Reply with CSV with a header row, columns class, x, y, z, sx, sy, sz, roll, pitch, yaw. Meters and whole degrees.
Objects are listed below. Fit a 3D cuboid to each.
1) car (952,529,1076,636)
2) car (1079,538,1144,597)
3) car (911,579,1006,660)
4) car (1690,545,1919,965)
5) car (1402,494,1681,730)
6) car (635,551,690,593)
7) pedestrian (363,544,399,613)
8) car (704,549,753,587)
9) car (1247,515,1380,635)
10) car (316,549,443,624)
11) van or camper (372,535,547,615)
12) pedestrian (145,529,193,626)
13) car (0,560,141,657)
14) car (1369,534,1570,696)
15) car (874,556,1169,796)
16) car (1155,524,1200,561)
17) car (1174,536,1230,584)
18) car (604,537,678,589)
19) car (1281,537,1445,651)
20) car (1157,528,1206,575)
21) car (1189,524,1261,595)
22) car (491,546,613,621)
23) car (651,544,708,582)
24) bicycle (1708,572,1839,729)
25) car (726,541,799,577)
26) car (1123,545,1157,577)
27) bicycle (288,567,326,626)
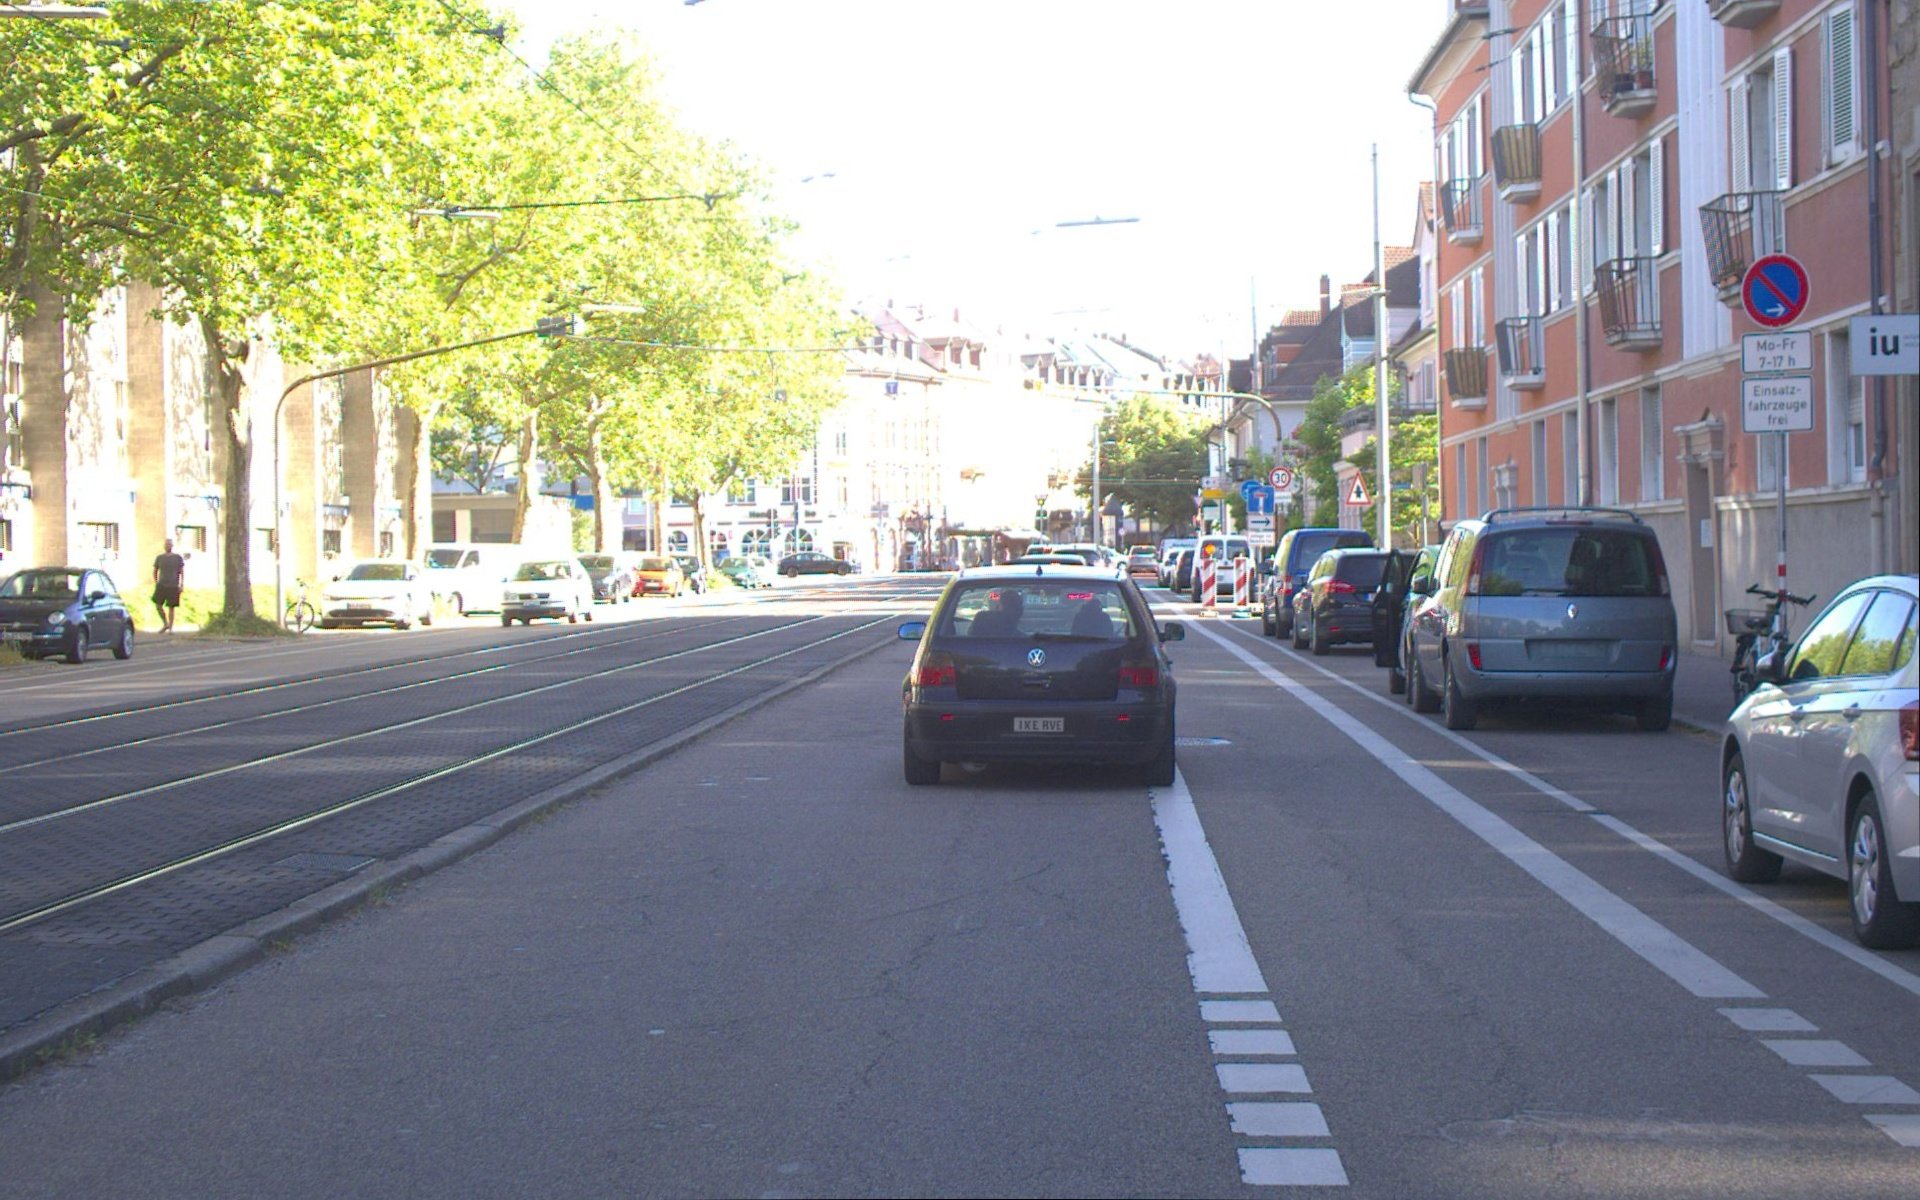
class,x,y,z,sx,sy,sz,roll,pitch,yaw
car,0.855,-0.293,52.491,1.749,1.532,3.891,-1,1,3
car,3.926,-0.866,89.477,1.636,1.467,3.729,-1,1,2
car,-0.004,0.383,71.381,1.749,1.532,3.891,-1,1,3
car,4.303,0.536,14.413,1.714,1.495,4.226,1,1,2
car,4.877,0.050,29.419,1.753,1.849,4.815,0,1,2
car,-11.126,-1.036,128.728,1.570,1.528,3.572,-1,0,2
pedestrian,-15.450,-0.588,91.711,0.796,1.814,0.670,1,1,2
car,-10.585,-1.480,157.568,1.884,1.663,3.804,1,1,1
car,5.881,-0.444,57.624,1.702,1.804,4.272,4,1,0
car,-13.059,-0.340,77.615,2.012,1.567,4.693,1,1,1
van or camper,-12.756,-0.671,87.960,2.062,1.943,5.184,1,1,22
pedestrian,-15.380,-0.441,66.836,0.784,1.863,0.671,0,1,-26
car,-13.998,0.127,53.523,1.507,1.449,3.463,0,0,3
car,5.039,0.108,34.372,1.632,1.506,3.716,1,1,3
car,0.395,0.431,22.656,1.748,1.370,4.000,-1,1,1
car,8.233,-2.190,130.444,1.580,1.370,4.000,-1,1,2
car,7.901,-1.320,112.528,1.661,1.520,4.036,-1,1,2
car,-10.435,-1.218,112.560,1.888,1.660,4.000,-1,1,2
car,5.687,-0.123,49.012,1.754,1.506,4.763,1,1,0
car,8.689,-1.903,135.125,1.817,1.793,4.000,-1,1,2
car,7.142,-1.112,92.783,1.759,1.831,3.547,1,1,2
car,-8.902,-0.388,75.269,1.753,1.513,4.070,-3,1,6
car,-11.263,-1.489,138.141,1.792,1.460,3.835,2,1,2
bicycle,6.412,0.374,27.180,0.515,1.136,2.259,-3,1,2
car,-11.277,-2.331,196.043,3.986,2.007,2.001,1,1,-9
car,9.239,-2.012,176.751,1.668,1.592,3.650,-1,1,2
bicycle,-13.684,-0.082,72.059,0.581,1.205,1.654,1,1,-4
